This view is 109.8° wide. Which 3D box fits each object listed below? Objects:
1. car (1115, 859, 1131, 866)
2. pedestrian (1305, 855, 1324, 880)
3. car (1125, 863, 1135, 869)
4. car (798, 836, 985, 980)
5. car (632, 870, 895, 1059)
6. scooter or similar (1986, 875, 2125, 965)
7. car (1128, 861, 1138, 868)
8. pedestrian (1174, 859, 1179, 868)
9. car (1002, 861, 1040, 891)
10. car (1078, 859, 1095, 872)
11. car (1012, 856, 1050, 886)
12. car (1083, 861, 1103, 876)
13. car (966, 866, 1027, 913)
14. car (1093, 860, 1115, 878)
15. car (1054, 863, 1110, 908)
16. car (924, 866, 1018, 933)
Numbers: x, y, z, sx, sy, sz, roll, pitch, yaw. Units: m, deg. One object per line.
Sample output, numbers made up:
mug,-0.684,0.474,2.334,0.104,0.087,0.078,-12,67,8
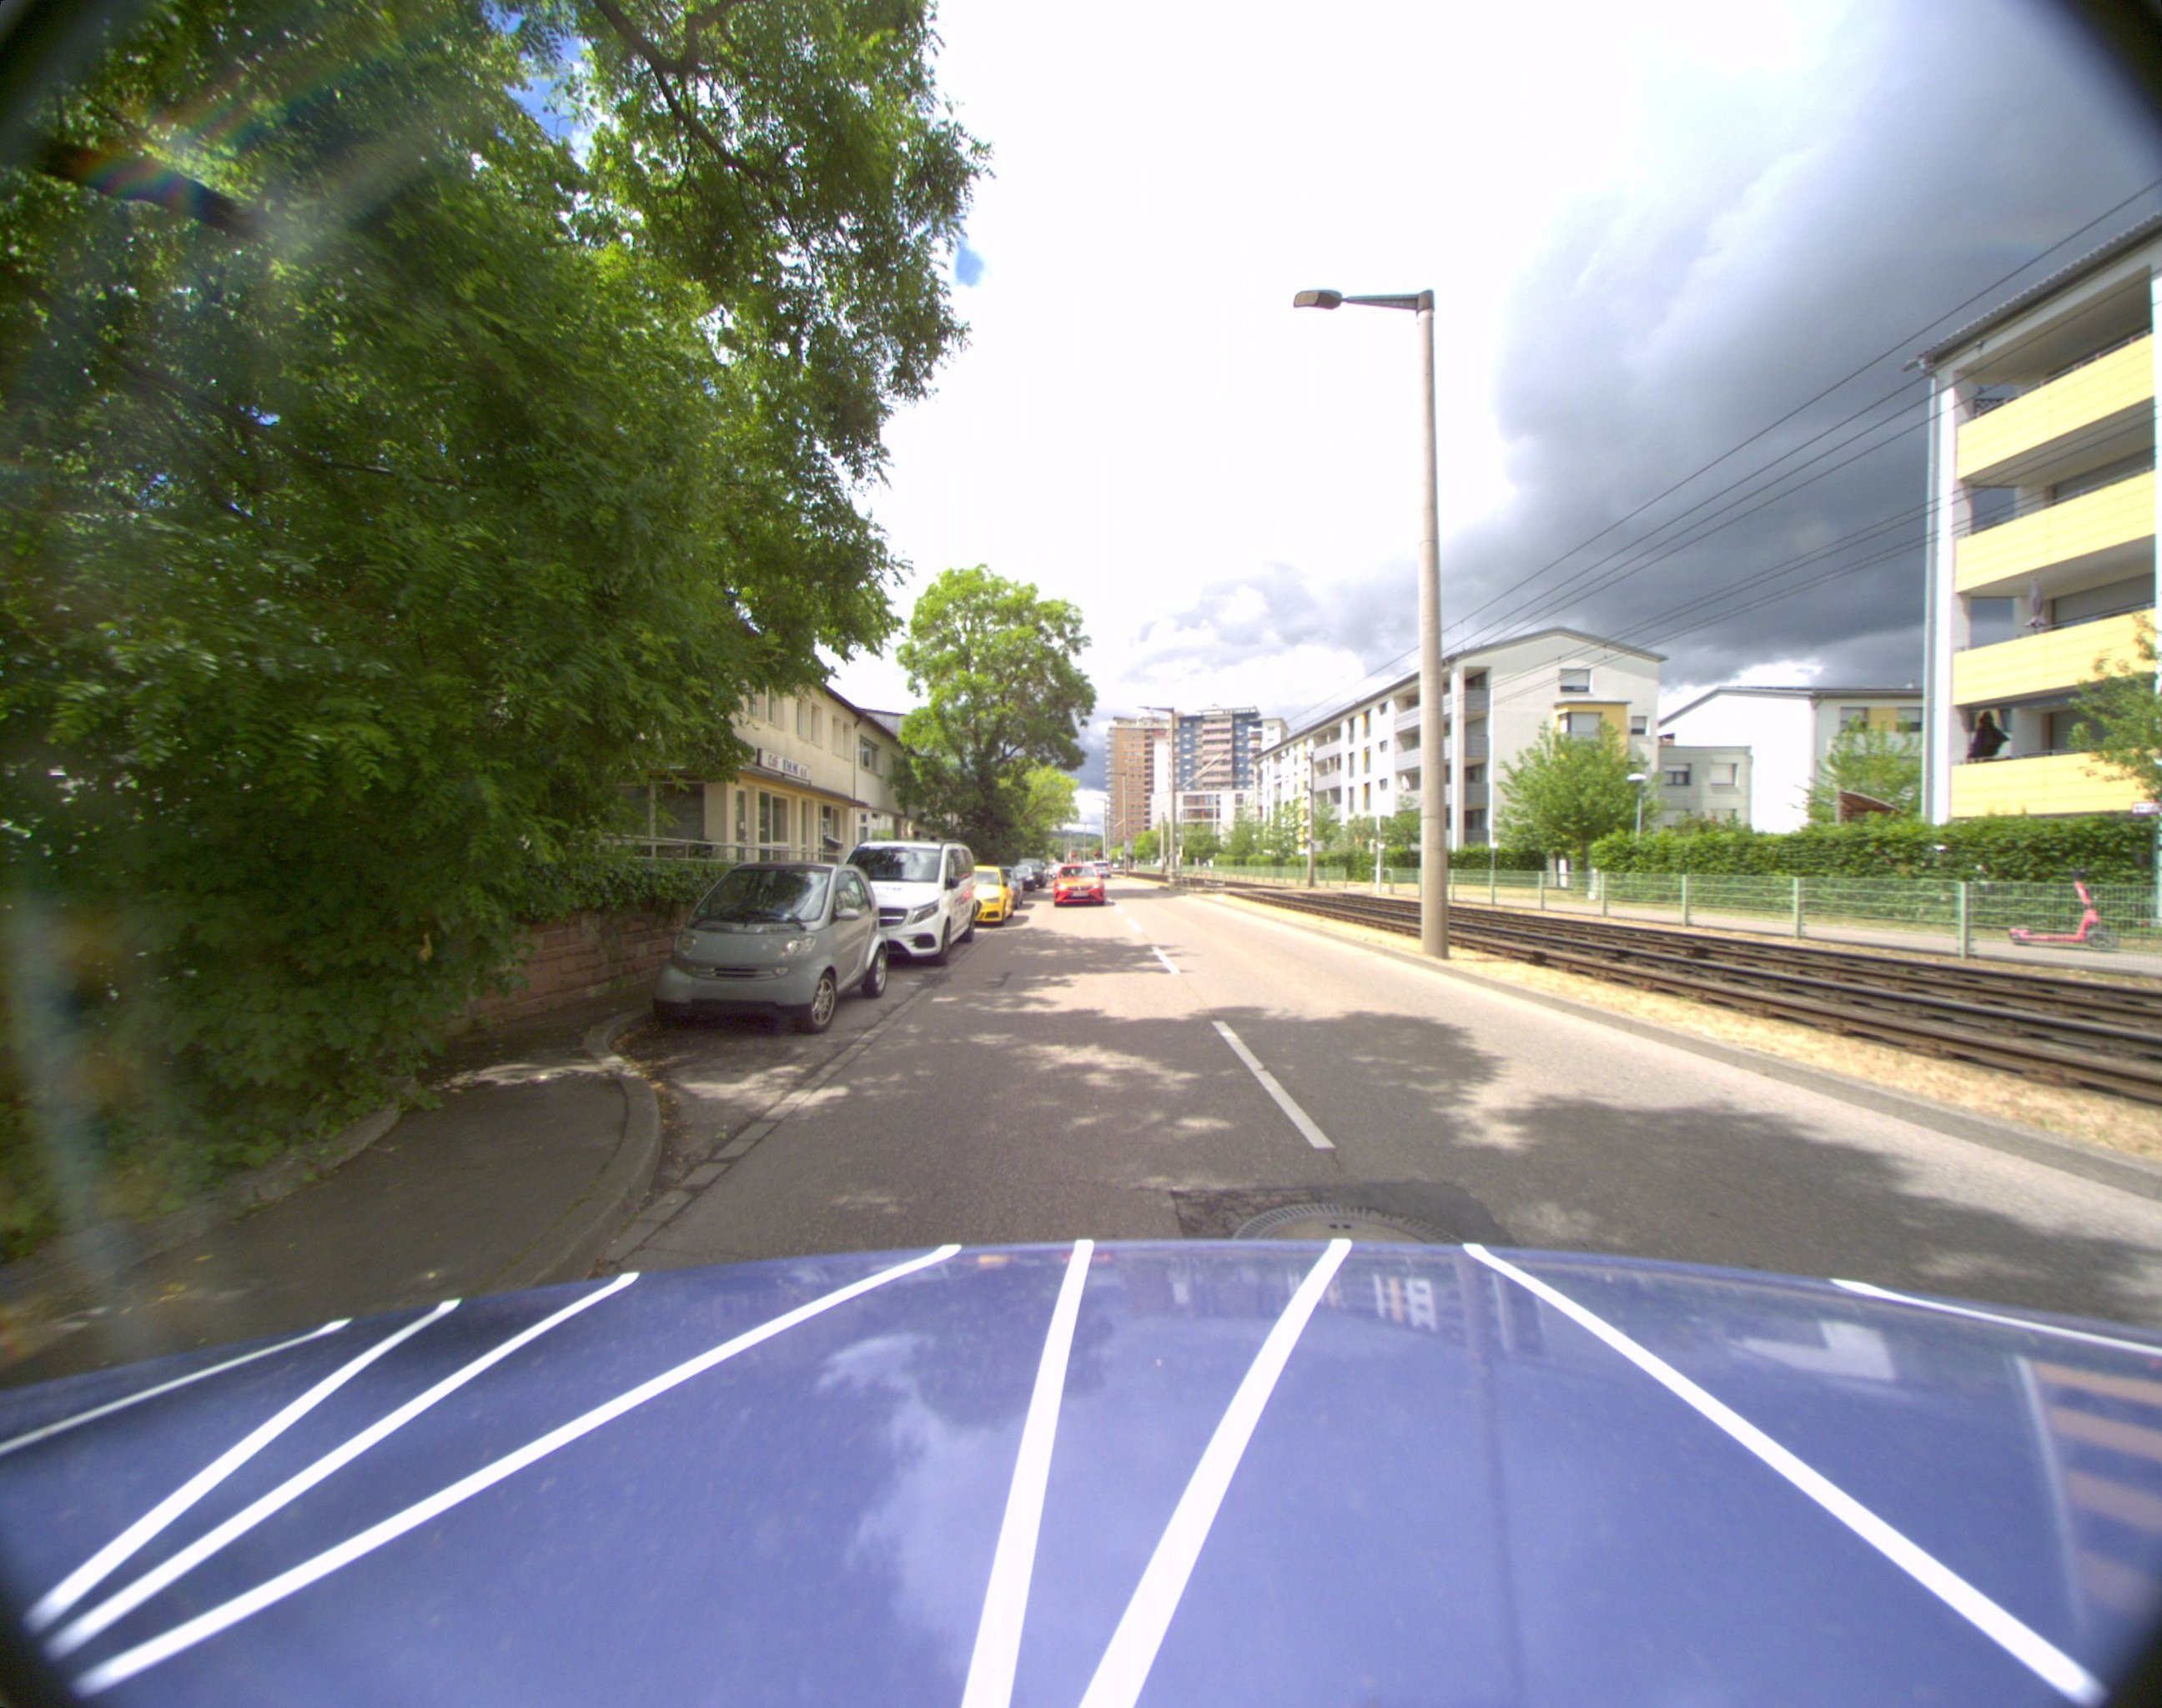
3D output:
car,11.666,2.322,209.720,4.506,1.914,1.877,0,0,-43
pedestrian,13.660,0.791,44.506,0.798,1.474,0.995,-1,0,-2
car,11.457,2.779,178.472,1.781,1.530,3.803,-1,0,-3
car,-2.937,0.759,13.206,1.919,1.947,5.744,0,0,-1
car,-3.028,0.964,7.837,1.517,1.525,2.847,1,0,0
scooter or similar,15.106,0.993,11.824,0.491,1.285,1.302,-1,0,0
car,11.844,2.271,172.099,1.781,1.530,3.803,-1,0,-3
pedestrian,17.045,1.702,135.468,0.749,1.644,0.538,-1,0,-2
car,-3.192,1.143,40.927,1.839,1.497,4.242,0,0,-2
car,0.728,1.501,98.155,1.863,1.680,4.432,0,0,-4
car,-3.029,1.012,47.116,2.020,1.778,5.076,0,0,0
car,1.220,1.578,82.314,1.822,1.494,4.836,-2,0,-3
car,-2.808,1.141,26.011,1.760,1.434,4.493,0,0,-2
car,2.183,1.388,72.679,1.822,1.604,4.601,-2,0,-2
car,0.002,1.057,26.779,1.792,1.387,4.241,-2,0,-1
car,-2.661,1.065,19.337,1.760,1.434,4.341,1,0,0
